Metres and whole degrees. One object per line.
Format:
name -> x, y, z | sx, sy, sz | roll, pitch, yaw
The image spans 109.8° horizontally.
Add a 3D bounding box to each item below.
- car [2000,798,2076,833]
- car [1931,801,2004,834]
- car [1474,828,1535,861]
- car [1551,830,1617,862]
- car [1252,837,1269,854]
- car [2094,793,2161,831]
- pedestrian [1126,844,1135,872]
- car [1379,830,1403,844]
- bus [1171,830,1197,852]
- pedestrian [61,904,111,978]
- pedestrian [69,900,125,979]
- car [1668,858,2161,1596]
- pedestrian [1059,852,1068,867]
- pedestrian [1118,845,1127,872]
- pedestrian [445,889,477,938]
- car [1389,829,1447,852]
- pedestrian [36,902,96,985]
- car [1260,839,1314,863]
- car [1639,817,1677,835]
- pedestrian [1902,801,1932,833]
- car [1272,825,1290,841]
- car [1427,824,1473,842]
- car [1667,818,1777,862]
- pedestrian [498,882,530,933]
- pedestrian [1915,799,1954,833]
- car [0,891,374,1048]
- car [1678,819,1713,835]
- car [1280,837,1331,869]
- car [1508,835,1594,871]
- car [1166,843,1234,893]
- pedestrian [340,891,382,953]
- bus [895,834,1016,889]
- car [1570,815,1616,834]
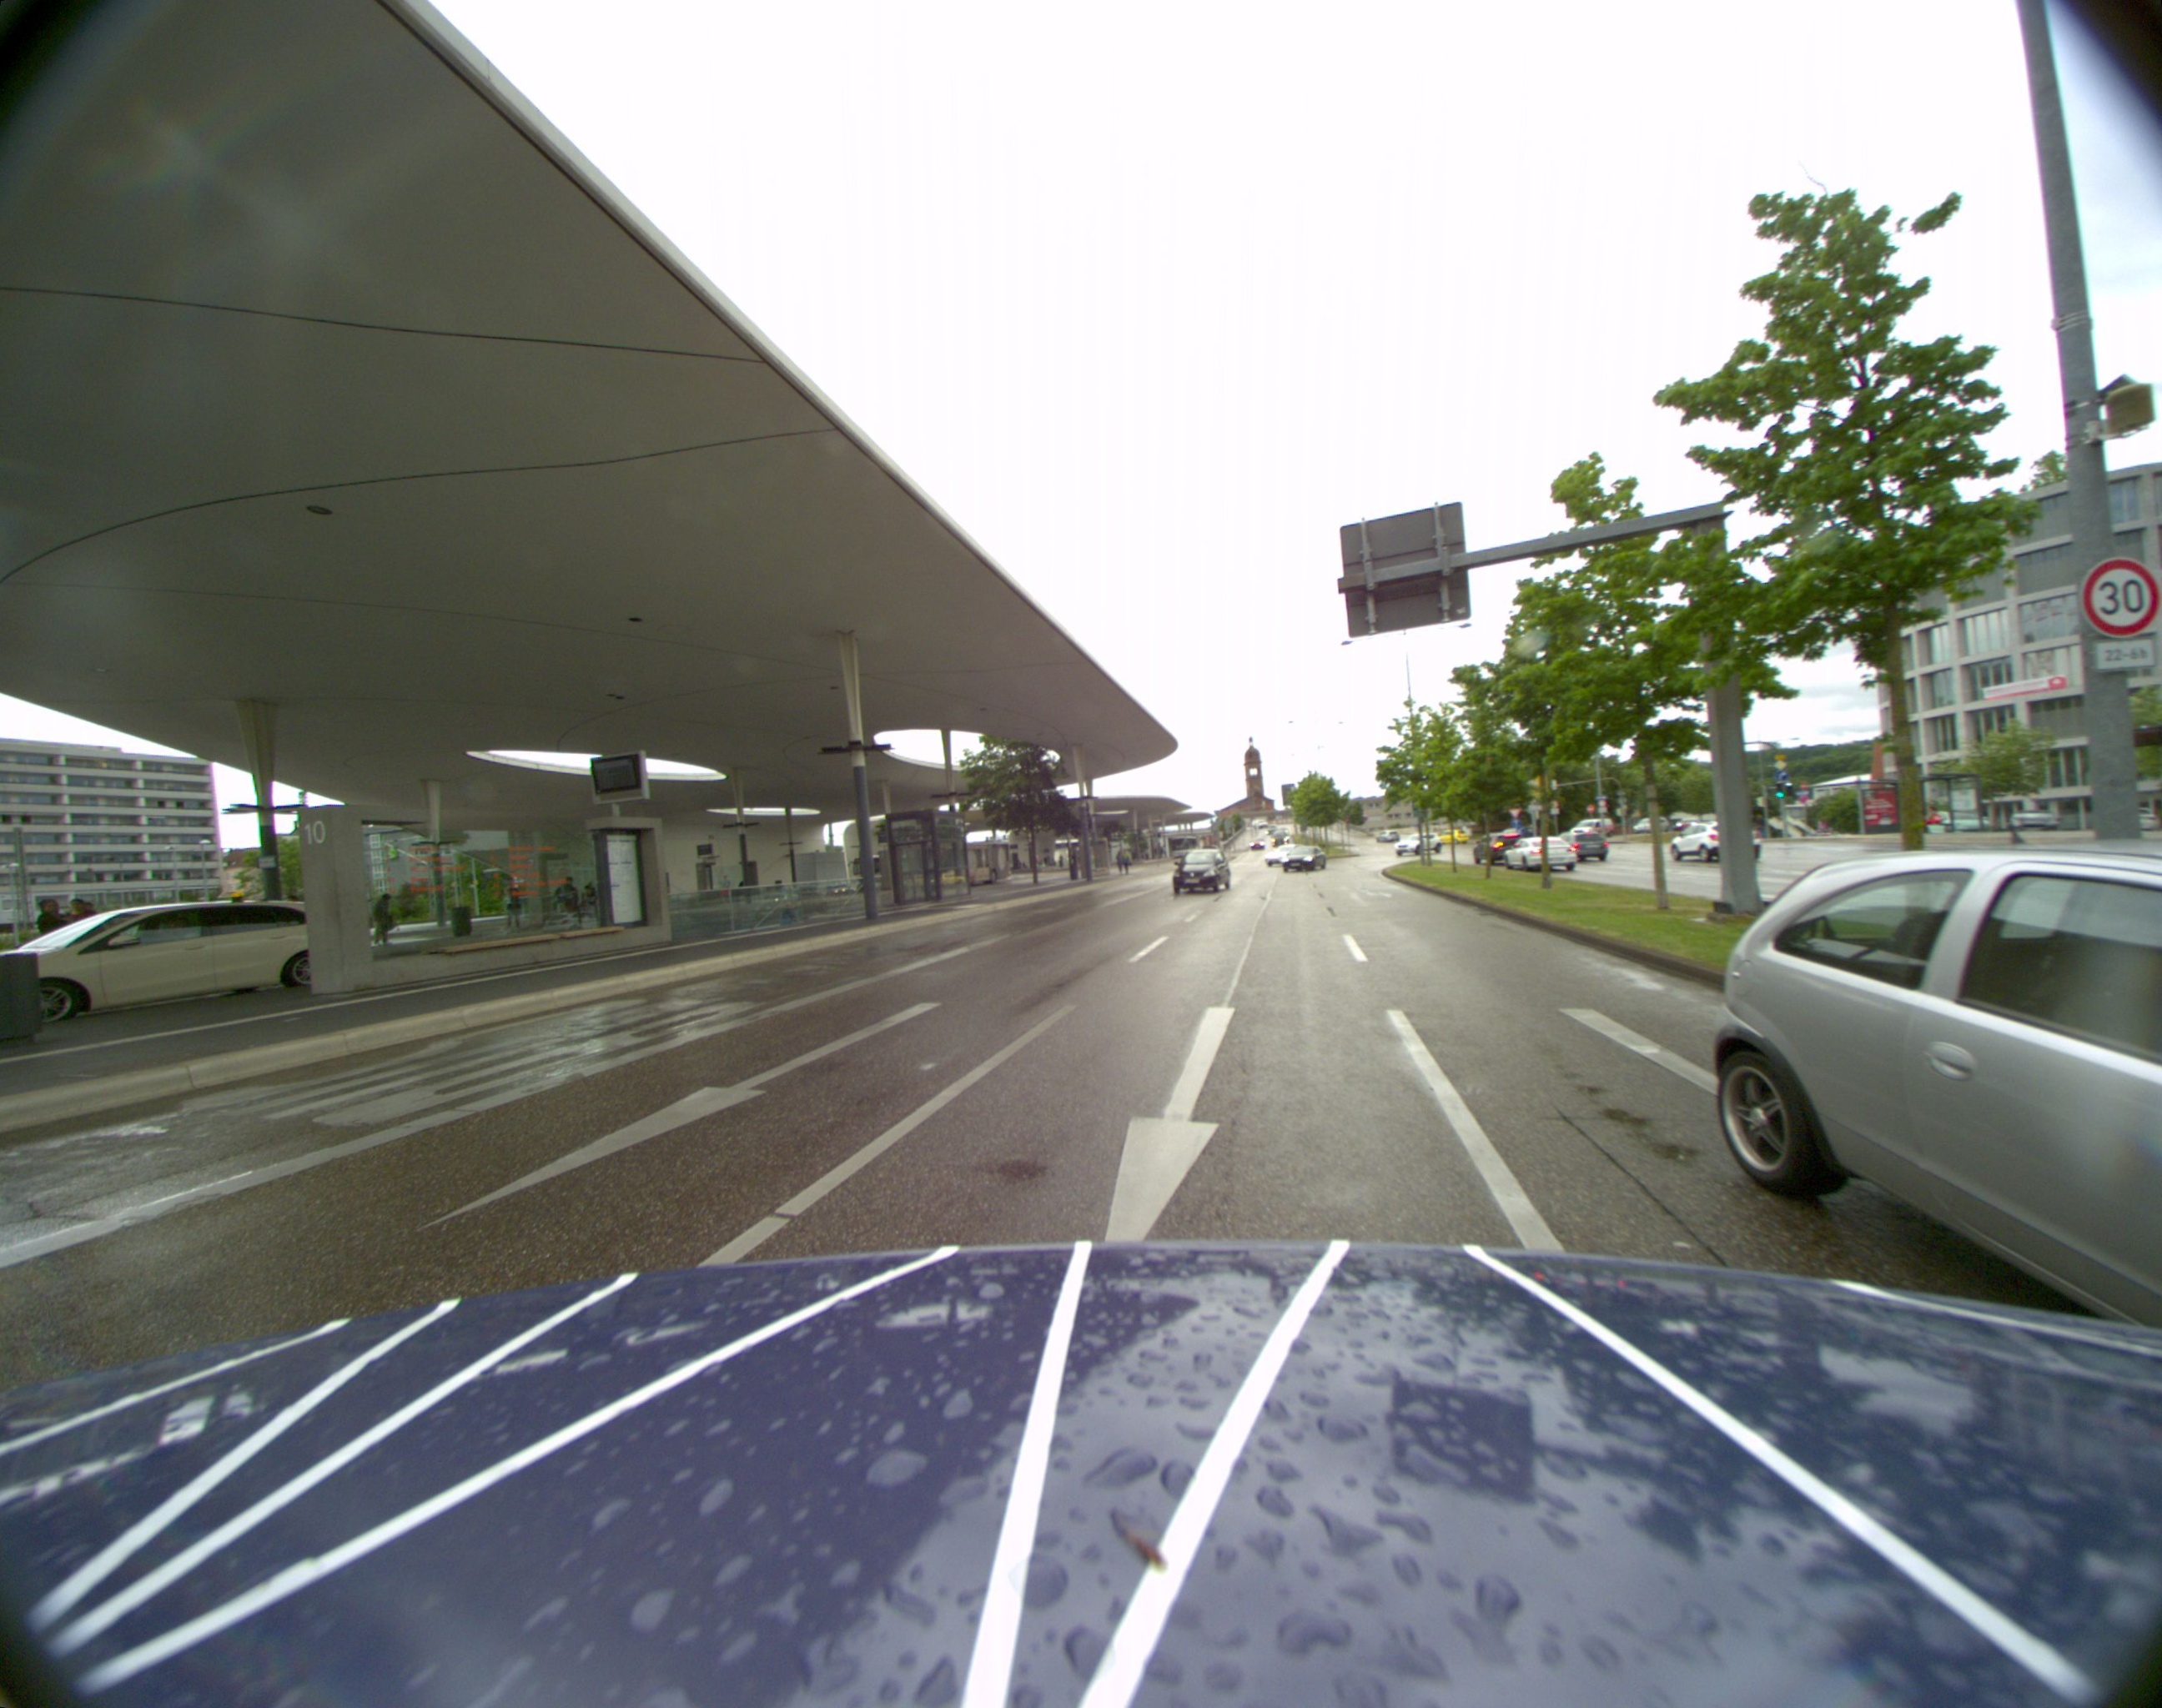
car -> 51.226, -2.077, 40.672 | 4.163, 1.692, 1.873 | -3, 1, -29
car -> 50.085, -2.064, 42.907 | 4.163, 1.692, 1.873 | -3, 1, -29
car -> 21.897, -0.530, 39.465 | 2.007, 1.545, 4.169 | -2, 1, 18
car -> 25.439, -0.437, 38.574 | 1.696, 1.457, 4.457 | -2, 1, 18
car -> 23.354, -1.126, 98.868 | 1.996, 2.002, 4.003 | -2, 1, 14
car -> 52.733, -2.114, 38.015 | 4.163, 1.692, 1.873 | -3, 1, -29
pedestrian -> 3.253, 0.260, 49.961 | 0.445, 1.754, 0.537 | -3, 1, 5
car -> 39.476, -2.167, 96.726 | 1.874, 1.624, 4.160 | -3, 0, 9
bus -> 15.776, -1.931, 117.075 | 3.580, 3.080, 10.759 | -3, 0, 7
pedestrian -> -21.257, 1.840, 16.242 | 0.480, 1.505, 0.534 | -4, 1, -40
pedestrian -> -19.608, 1.692, 15.143 | 0.534, 1.505, 0.480 | -3, 1, 20
car -> 3.152, 0.822, 1.589 | 1.697, 1.457, 3.723 | -2, 1, 15
pedestrian -> -2.411, 0.805, 103.603 | 1.025, 2.002, 0.880 | -3, 1, -4
pedestrian -> 2.761, 0.281, 50.025 | 0.445, 1.754, 0.537 | -3, 1, 9
pedestrian -> -19.590, 1.875, 24.011 | 0.478, 1.505, 0.526 | -3, 1, 19
car -> 26.926, -1.084, 60.705 | 4.306, 1.625, 1.873 | -3, 1, -27
pedestrian -> -19.261, 1.687, 14.427 | 0.534, 1.505, 0.480 | -3, 1, 20
car -> 15.307, -0.212, 56.300 | 4.056, 1.550, 1.807 | -3, 1, -40
car -> 59.458, -2.846, 78.256 | 4.292, 1.624, 1.872 | -3, 1, -35
pedestrian -> 39.672, -1.764, 36.057 | 0.732, 1.481, 0.735 | -2, 2, 24
car -> 26.652, -2.759, 101.192 | 1.997, 2.002, 4.002 | -2, 1, 10
car -> 39.168, -2.236, 80.697 | 1.878, 1.624, 4.150 | -3, 0, -21
car -> 26.435, -0.587, 31.538 | 1.958, 1.609, 4.213 | -2, 1, 17
pedestrian -> -17.262, 1.624, 23.127 | 0.478, 1.505, 0.536 | -3, 1, 19
pedestrian -> 39.395, -1.737, 35.098 | 0.982, 1.481, 0.735 | -2, 2, 26
car -> -13.946, 1.571, 11.306 | 1.996, 1.671, 4.546 | -2, 1, 16
car -> 68.398, -3.013, 84.569 | 4.164, 1.624, 1.872 | -3, 1, -34
car -> 13.203, -0.081, 44.531 | 1.872, 1.692, 4.164 | -2, 1, 30
car -> 19.839, -0.098, 32.290 | 2.007, 1.345, 4.169 | -2, 1, 16
car -> 4.529, 0.482, 28.388 | 1.873, 1.692, 4.162 | -2, 0, 17
pedestrian -> -18.296, 1.726, 19.318 | 0.478, 1.505, 0.536 | -3, 1, 19
bus -> -7.788, 0.381, 49.831 | 2.873, 3.064, 11.935 | -2, 0, 16
car -> 48.276, -2.772, 71.628 | 4.163, 1.625, 1.873 | -3, 1, -28
